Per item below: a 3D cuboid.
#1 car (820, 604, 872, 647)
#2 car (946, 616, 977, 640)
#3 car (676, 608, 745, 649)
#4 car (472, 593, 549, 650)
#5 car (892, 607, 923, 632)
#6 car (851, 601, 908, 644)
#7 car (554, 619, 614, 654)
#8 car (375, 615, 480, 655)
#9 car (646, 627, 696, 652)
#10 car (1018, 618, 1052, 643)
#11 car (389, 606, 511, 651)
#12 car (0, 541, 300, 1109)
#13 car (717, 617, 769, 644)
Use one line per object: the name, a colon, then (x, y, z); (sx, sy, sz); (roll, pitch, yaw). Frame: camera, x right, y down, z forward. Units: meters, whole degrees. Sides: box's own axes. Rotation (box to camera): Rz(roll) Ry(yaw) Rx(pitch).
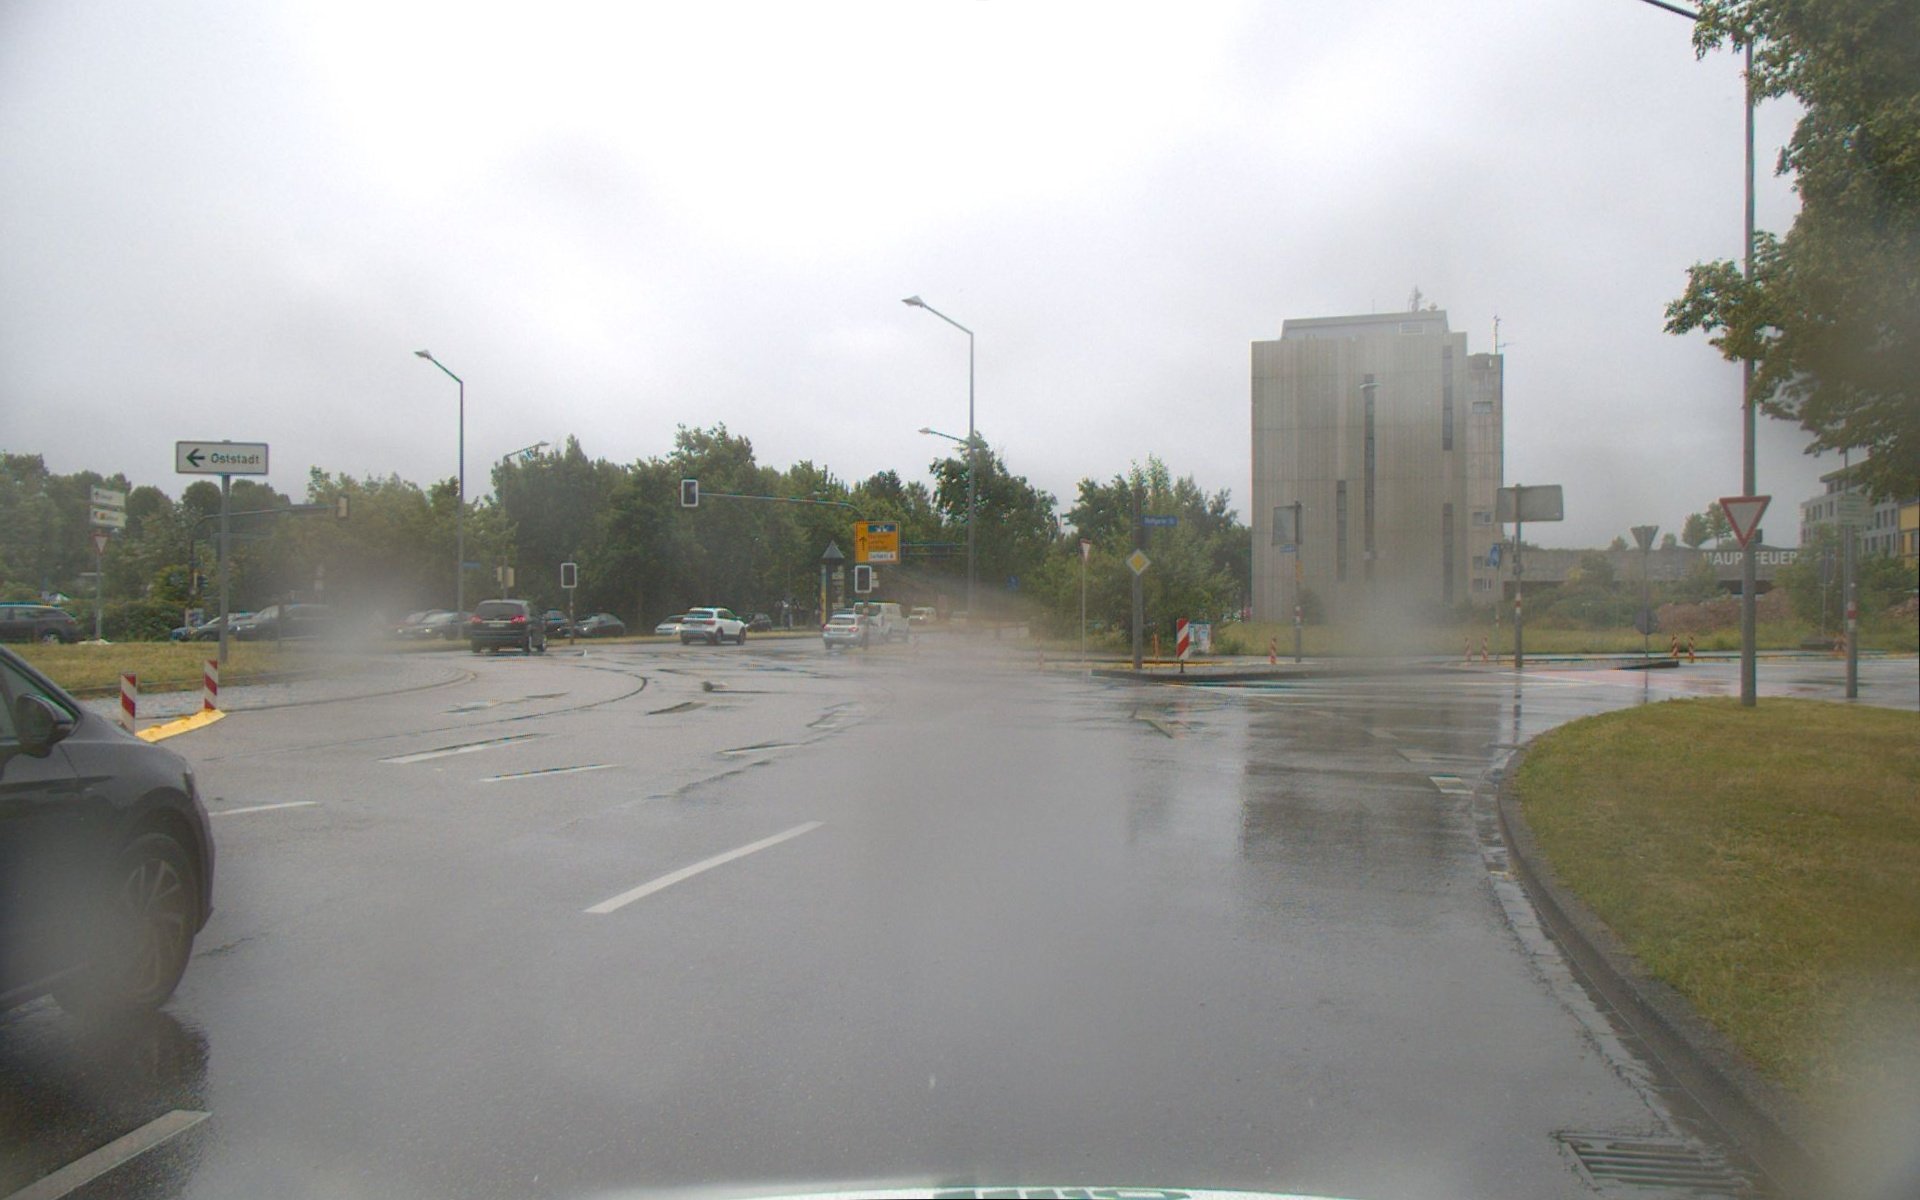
car: (-5.008, 1.097, 73.117); (1.746, 1.842, 4.839); (0, 0, 2)
car: (0.108, 1.849, 111.109); (1.653, 1.518, 3.253); (0, 0, 7)
car: (-10.889, 1.256, 72.455); (1.645, 1.676, 3.950); (2, -2, 11)
car: (-14.274, 0.691, 52.723); (1.749, 1.676, 3.993); (2, -2, -7)
car: (-4.535, 1.690, 144.184); (1.750, 2.049, 3.676); (2, -2, 13)
car: (-4.126, 1.189, 85.439); (1.745, 2.072, 4.002); (2, -2, 15)
car: (-19.052, 1.881, 84.004); (1.746, 1.676, 4.395); (2, -2, 3)
car: (-24.209, 1.604, 75.250); (1.756, 1.676, 4.226); (1, -2, 40)
car: (-17.541, 2.405, 100.457); (1.592, 1.400, 4.253); (2, -2, 10)
car: (4.933, 1.989, 108.379); (1.653, 1.518, 3.253); (0, 0, 14)
car: (-20.606, 1.166, 66.968); (4.354, 1.676, 1.762); (3, -2, -41)
car: (-3.480, 0.602, 4.258); (1.746, 1.544, 4.333); (1, 0, 1)
car: (-14.478, 2.035, 110.630); (1.746, 1.676, 4.000); (1, -2, 20)
